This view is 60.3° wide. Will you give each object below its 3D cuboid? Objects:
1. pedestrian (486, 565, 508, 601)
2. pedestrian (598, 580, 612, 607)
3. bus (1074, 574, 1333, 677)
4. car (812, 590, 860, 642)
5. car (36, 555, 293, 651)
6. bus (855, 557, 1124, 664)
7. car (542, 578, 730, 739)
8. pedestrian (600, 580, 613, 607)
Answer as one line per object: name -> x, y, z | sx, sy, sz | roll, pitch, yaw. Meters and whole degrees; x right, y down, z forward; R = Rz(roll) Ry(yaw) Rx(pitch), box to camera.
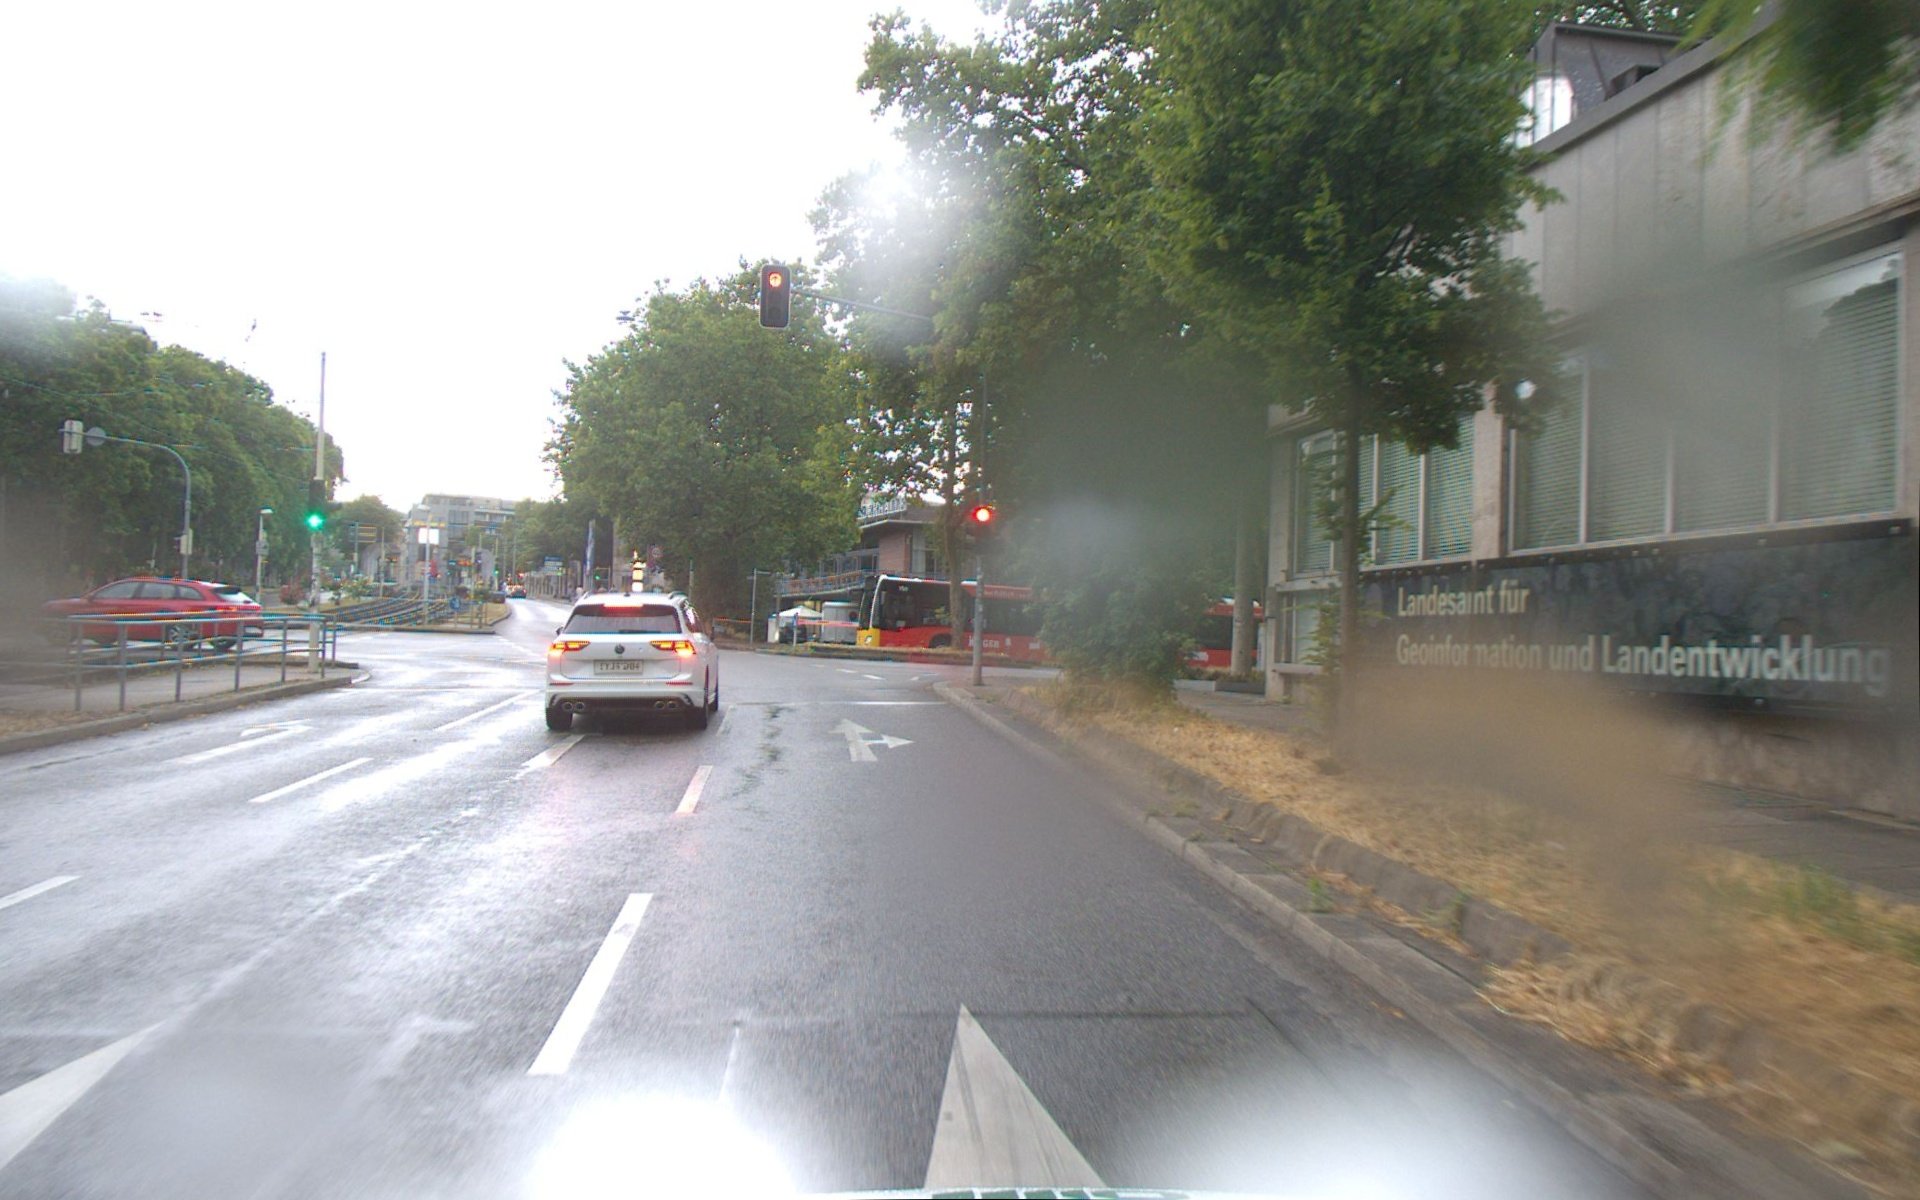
pedestrian -> -22.363, -0.800, 79.942 | 0.723, 1.668, 0.870 | 3, -1, -2
pedestrian -> -25.226, -0.478, 117.533 | 0.744, 1.855, 0.697 | 4, -1, -18
bus -> 8.990, 0.958, 61.231 | 8.992, 3.165, 2.656 | 4, -1, -11
car -> -8.209, 1.037, 109.470 | 2.499, 3.188, 5.018 | 4, -1, -10
car -> -16.476, 0.081, 34.377 | 4.309, 1.668, 1.988 | 3, -1, 7
bus -> 1.037, 0.421, 59.587 | 9.257, 3.165, 2.551 | 4, -1, -11
car -> -3.595, 0.581, 19.007 | 1.646, 1.604, 4.248 | 1, 0, -5
pedestrian -> -25.447, -0.463, 119.033 | 0.744, 1.855, 0.697 | 4, -1, -18
